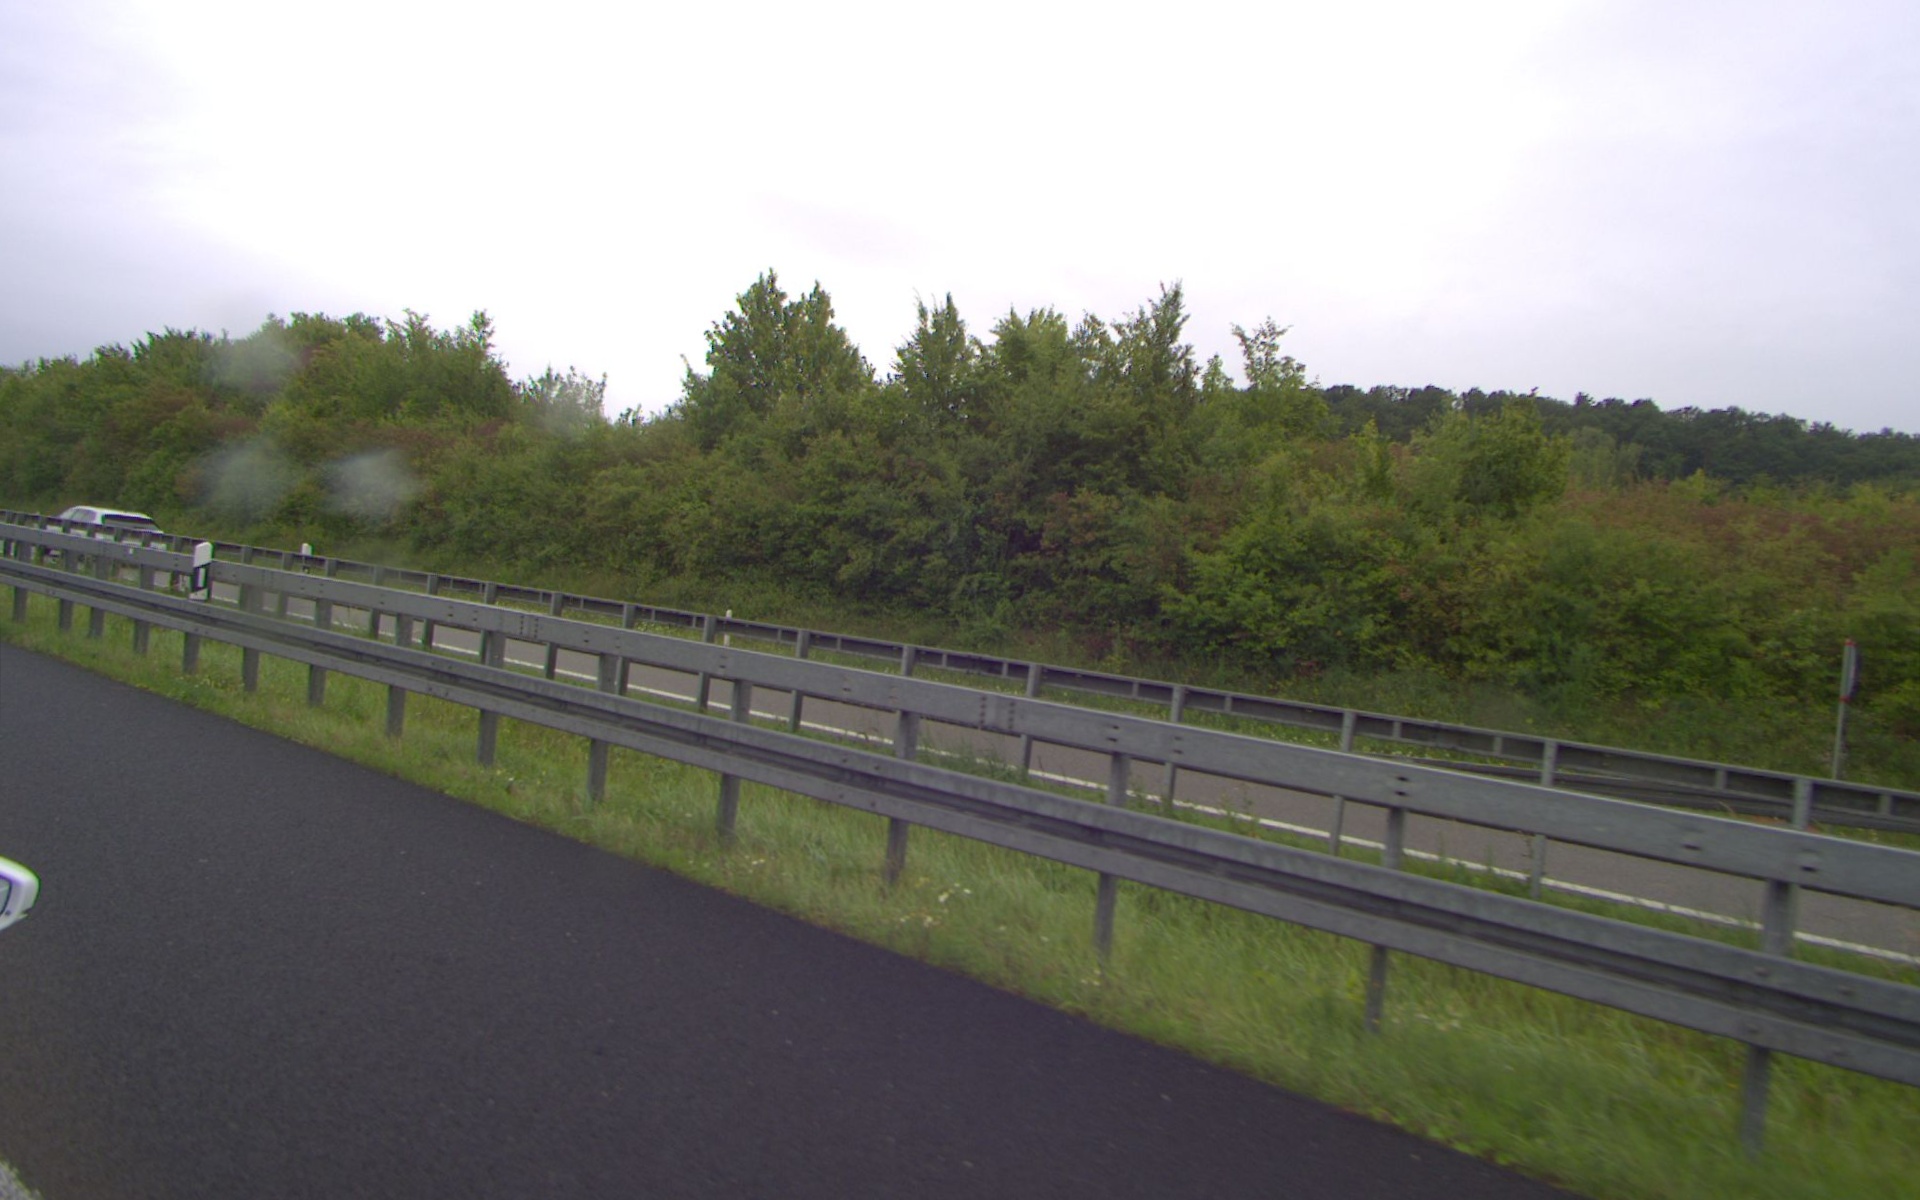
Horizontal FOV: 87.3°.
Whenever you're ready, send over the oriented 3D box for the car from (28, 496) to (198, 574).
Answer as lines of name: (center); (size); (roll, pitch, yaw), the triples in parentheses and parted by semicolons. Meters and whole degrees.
car: (-23.465, -1.800, 27.840); (4.615, 1.566, 2.012); (7, -1, 29)
